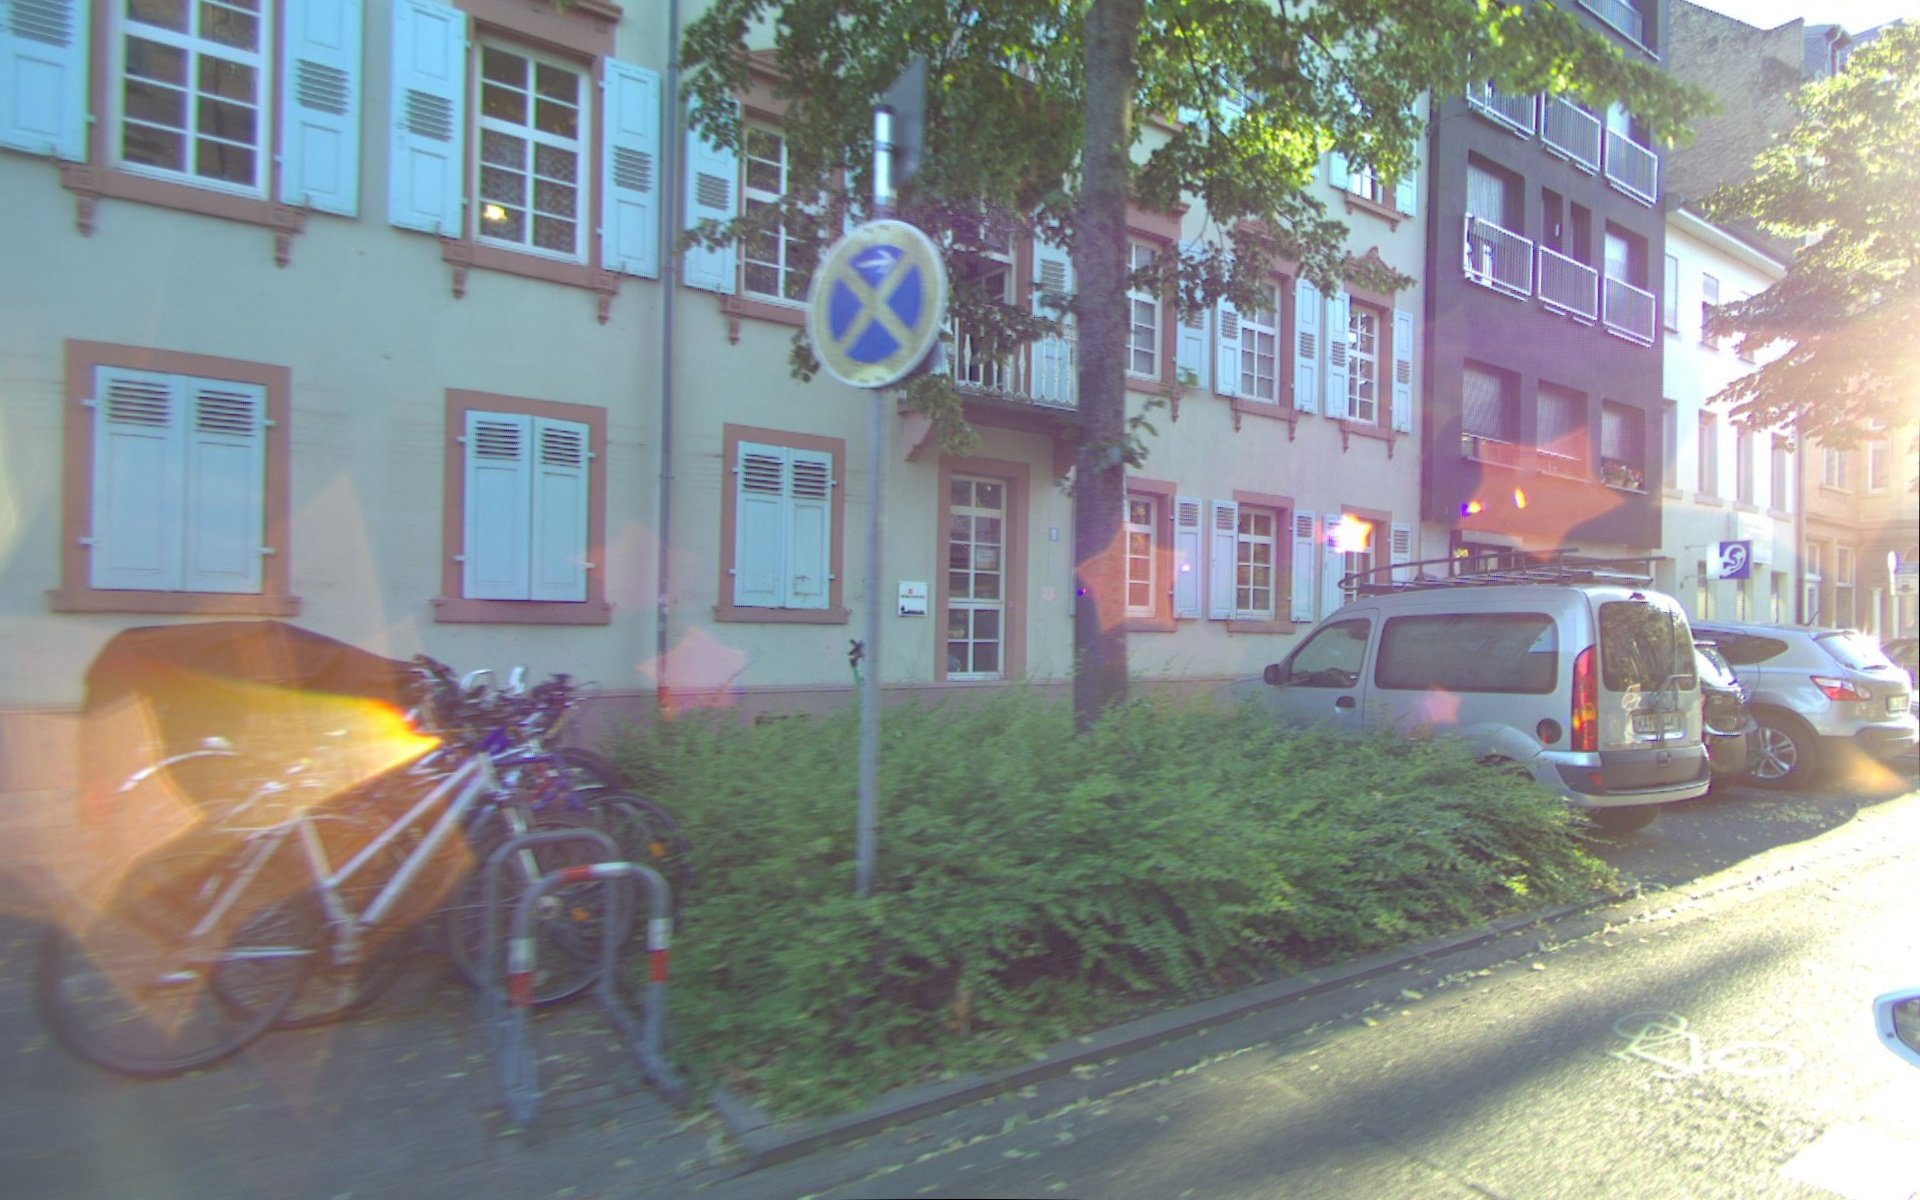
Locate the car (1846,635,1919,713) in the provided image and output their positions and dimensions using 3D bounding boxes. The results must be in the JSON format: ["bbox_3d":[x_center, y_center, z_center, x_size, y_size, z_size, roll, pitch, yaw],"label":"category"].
[{"bbox_3d":[18.695,1.399,18.387,1.667,1.410,3.380,1,-1,-30],"label":"car"}]

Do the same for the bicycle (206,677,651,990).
[{"bbox_3d":[-2.153,0.899,4.225,1.578,1.096,0.317,2,1,-31],"label":"bicycle"}]

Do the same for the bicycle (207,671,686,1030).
[{"bbox_3d":[-1.911,0.878,3.906,1.578,1.156,0.329,2,1,-31],"label":"bicycle"}]

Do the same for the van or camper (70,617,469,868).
[{"bbox_3d":[-4.000,0.770,6.043,1.822,1.276,0.937,2,0,-29],"label":"van or camper"}]

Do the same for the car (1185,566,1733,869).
[{"bbox_3d":[3.787,0.776,8.304,1.679,1.874,3.794,2,-1,-29],"label":"car"}]

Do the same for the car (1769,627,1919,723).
[{"bbox_3d":[16.627,1.295,17.259,1.836,1.537,3.872,1,-1,-32],"label":"car"}]

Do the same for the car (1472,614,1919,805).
[{"bbox_3d":[7.912,1.020,10.960,1.721,1.606,3.807,2,-1,-30],"label":"car"}]

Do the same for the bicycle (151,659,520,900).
[{"bbox_3d":[-3.209,0.875,5.291,1.578,1.096,0.393,2,1,-31],"label":"bicycle"}]

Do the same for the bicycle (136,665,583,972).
[{"bbox_3d":[-2.539,0.879,4.406,1.594,1.163,0.310,3,-1,-31],"label":"bicycle"}]

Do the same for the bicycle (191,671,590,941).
[{"bbox_3d":[-2.623,0.903,4.771,1.578,1.096,0.339,2,-1,-31],"label":"bicycle"}]

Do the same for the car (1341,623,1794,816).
[{"bbox_3d":[5.877,1.025,10.168,1.628,1.535,3.636,1,-1,-27],"label":"car"}]

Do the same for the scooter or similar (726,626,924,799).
[{"bbox_3d":[-1.050,0.828,7.870,1.380,1.238,0.672,1,-1,-33],"label":"scooter or similar"}]

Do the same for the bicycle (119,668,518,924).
[{"bbox_3d":[-3.057,0.893,4.930,1.578,1.096,0.320,2,-1,-31],"label":"bicycle"}]

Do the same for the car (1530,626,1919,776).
[{"bbox_3d":[9.760,1.134,12.643,1.745,1.536,4.179,2,-2,-36],"label":"car"}]

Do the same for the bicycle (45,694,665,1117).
[{"bbox_3d":[-1.927,0.916,3.429,1.693,1.123,0.393,2,1,-31],"label":"bicycle"}]
